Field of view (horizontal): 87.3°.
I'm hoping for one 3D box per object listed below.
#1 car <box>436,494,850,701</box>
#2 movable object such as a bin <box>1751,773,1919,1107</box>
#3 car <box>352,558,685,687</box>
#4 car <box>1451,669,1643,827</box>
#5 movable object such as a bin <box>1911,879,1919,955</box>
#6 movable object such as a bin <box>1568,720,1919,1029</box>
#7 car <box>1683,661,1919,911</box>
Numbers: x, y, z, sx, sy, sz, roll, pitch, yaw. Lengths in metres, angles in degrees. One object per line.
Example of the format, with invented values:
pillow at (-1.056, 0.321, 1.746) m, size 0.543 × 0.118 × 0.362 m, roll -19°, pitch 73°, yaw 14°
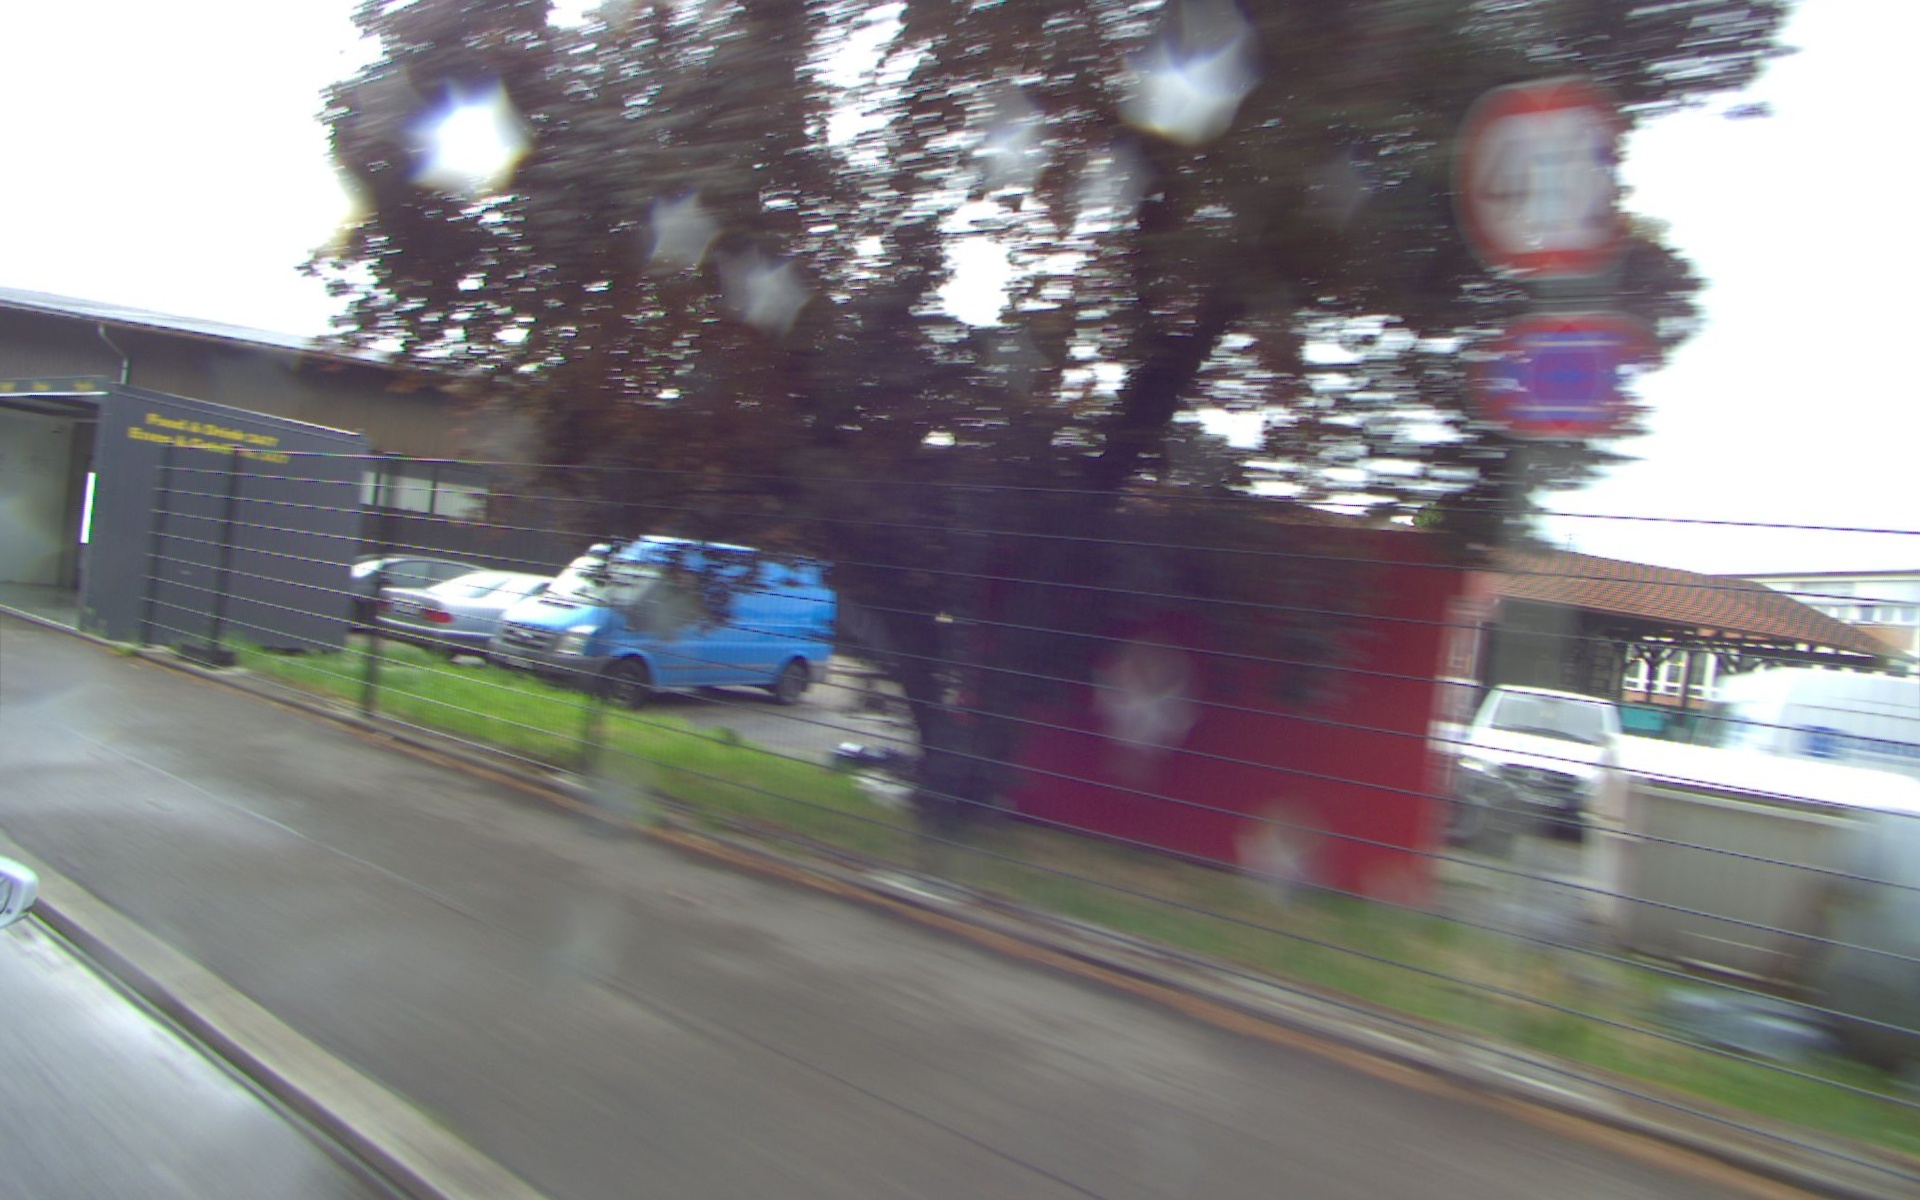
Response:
car at (-4.125, 0.162, 14.351) m, size 1.966 × 2.236 × 5.580 m, roll 7°, pitch -2°, yaw 30°
movable object such as a bin at (5.561, 1.746, 4.513) m, size 2.809 × 1.335 × 1.374 m, roll 7°, pitch -2°, yaw 27°
car at (-6.535, 0.438, 15.432) m, size 1.764 × 1.549 × 4.387 m, roll 6°, pitch -2°, yaw 30°
car at (8.488, 2.001, 14.771) m, size 1.966 × 1.714 × 4.605 m, roll 6°, pitch -1°, yaw 29°
movable object such as a bin at (8.205, 1.993, 6.623) m, size 2.048 × 1.736 × 2.624 m, roll 7°, pitch -2°, yaw 29°
movable object such as a bin at (6.077, 1.898, 7.922) m, size 1.859 × 1.595 × 3.340 m, roll 7°, pitch -2°, yaw 29°
car at (10.308, 2.034, 12.129) m, size 1.967 × 2.298 × 4.828 m, roll 5°, pitch -1°, yaw 31°
